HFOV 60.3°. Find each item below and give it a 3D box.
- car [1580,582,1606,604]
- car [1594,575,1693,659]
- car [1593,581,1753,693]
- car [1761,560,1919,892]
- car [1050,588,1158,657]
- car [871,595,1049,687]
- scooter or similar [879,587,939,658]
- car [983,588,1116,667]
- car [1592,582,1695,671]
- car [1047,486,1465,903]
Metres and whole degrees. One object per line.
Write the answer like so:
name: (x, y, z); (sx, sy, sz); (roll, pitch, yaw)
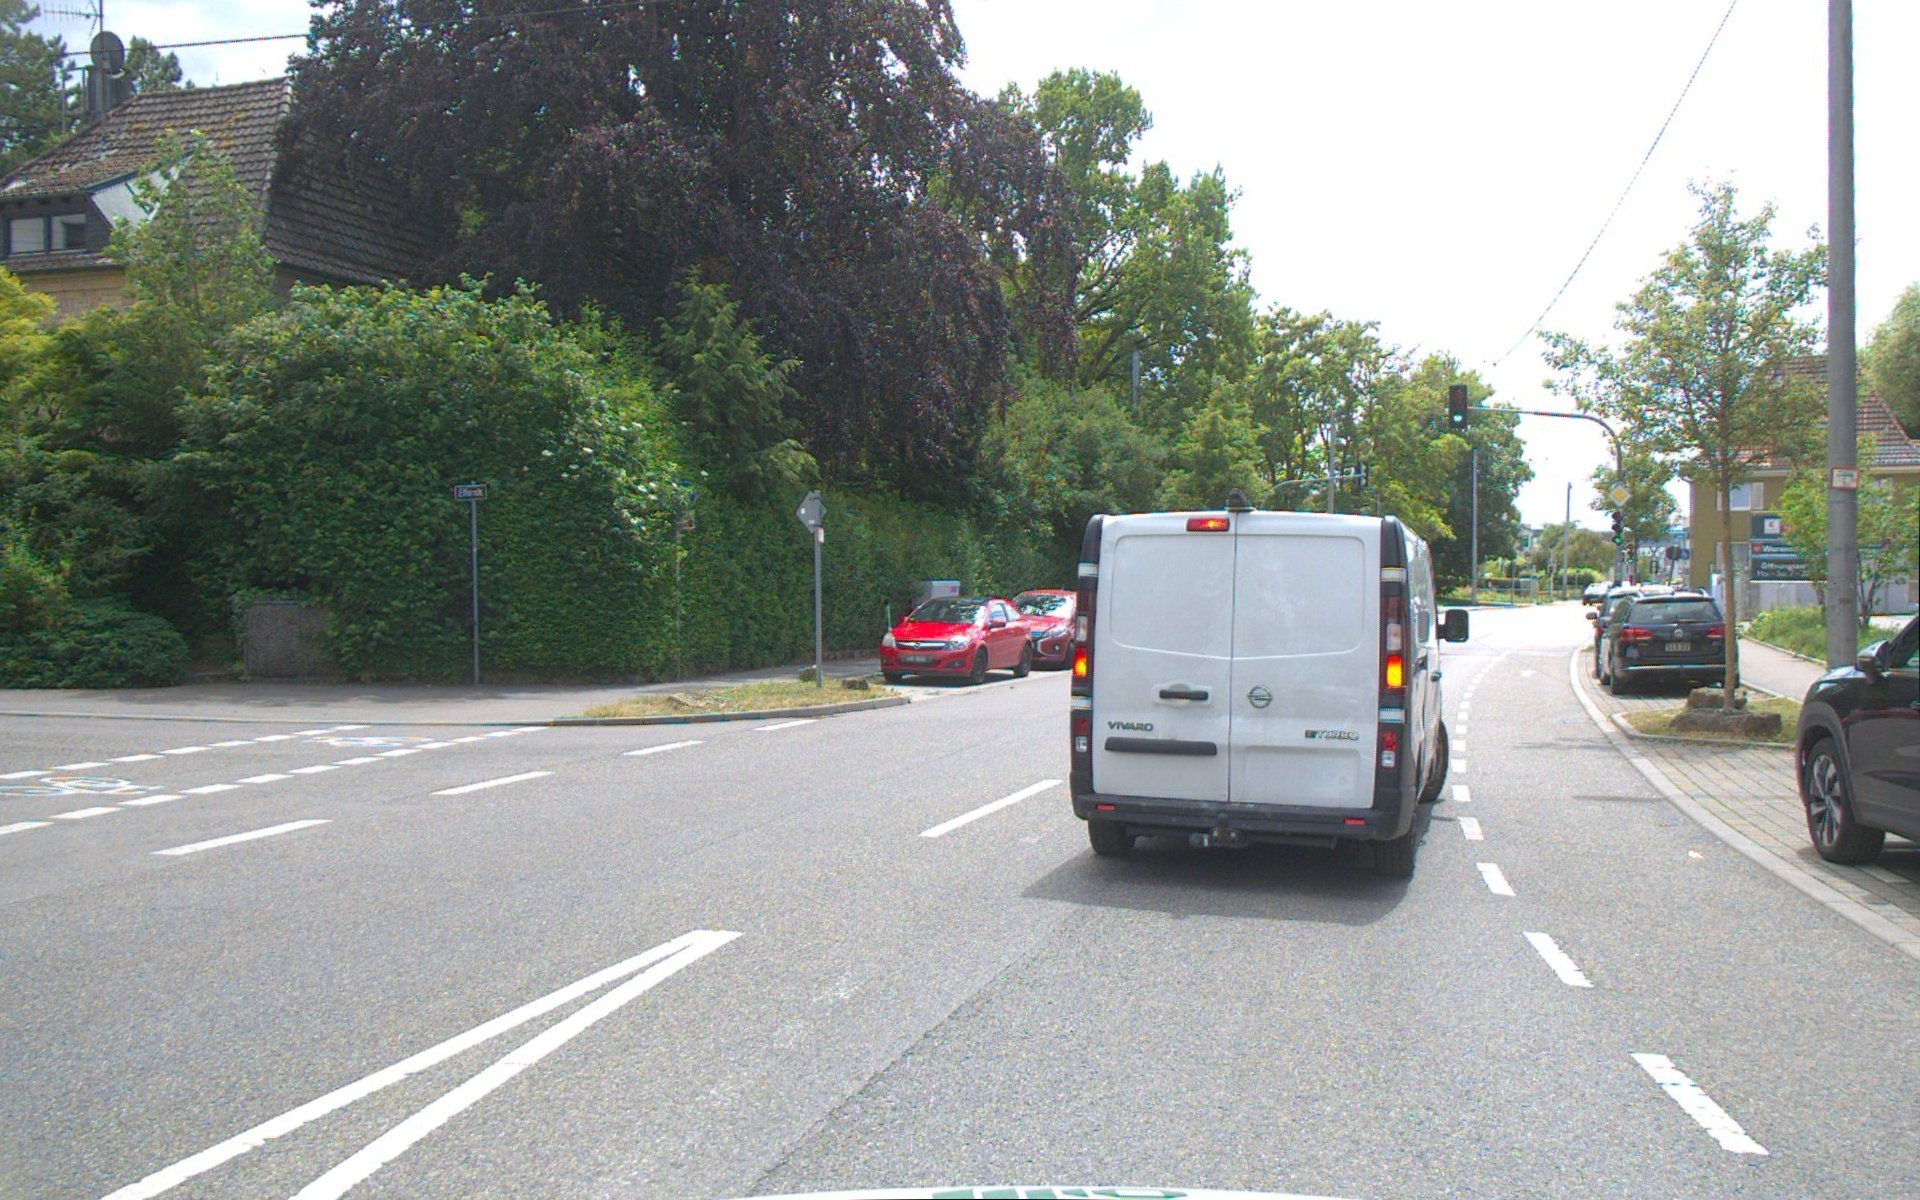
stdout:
car: (47.864, -0.536, 125.073); (1.795, 1.645, 4.153); (-1, 1, 21)
car: (14.674, 0.338, 35.686); (1.701, 1.644, 4.388); (-3, -1, 20)
car: (10.952, 0.514, 25.704); (1.727, 1.503, 4.938); (-3, -1, 17)
car: (5.648, 0.601, 8.028); (1.838, 1.650, 4.851); (-2, 0, 10)
car: (3.373, 0.477, 38.289); (1.562, 1.476, 3.596); (1, 1, 21)
car: (0.098, 0.648, 28.649); (1.626, 1.402, 4.567); (1, 1, 20)
scooter or similar: (-1.050, 0.448, 34.320); (0.656, 1.436, 1.649); (1, 1, 21)
car: (1.887, 0.502, 33.646); (1.615, 1.476, 4.106); (1, 1, 19)
car: (12.526, 0.451, 30.482); (1.536, 1.519, 4.001); (-1, 0, 20)
car: (2.150, 0.416, 10.614); (1.898, 1.994, 4.835); (2, 1, 19)
